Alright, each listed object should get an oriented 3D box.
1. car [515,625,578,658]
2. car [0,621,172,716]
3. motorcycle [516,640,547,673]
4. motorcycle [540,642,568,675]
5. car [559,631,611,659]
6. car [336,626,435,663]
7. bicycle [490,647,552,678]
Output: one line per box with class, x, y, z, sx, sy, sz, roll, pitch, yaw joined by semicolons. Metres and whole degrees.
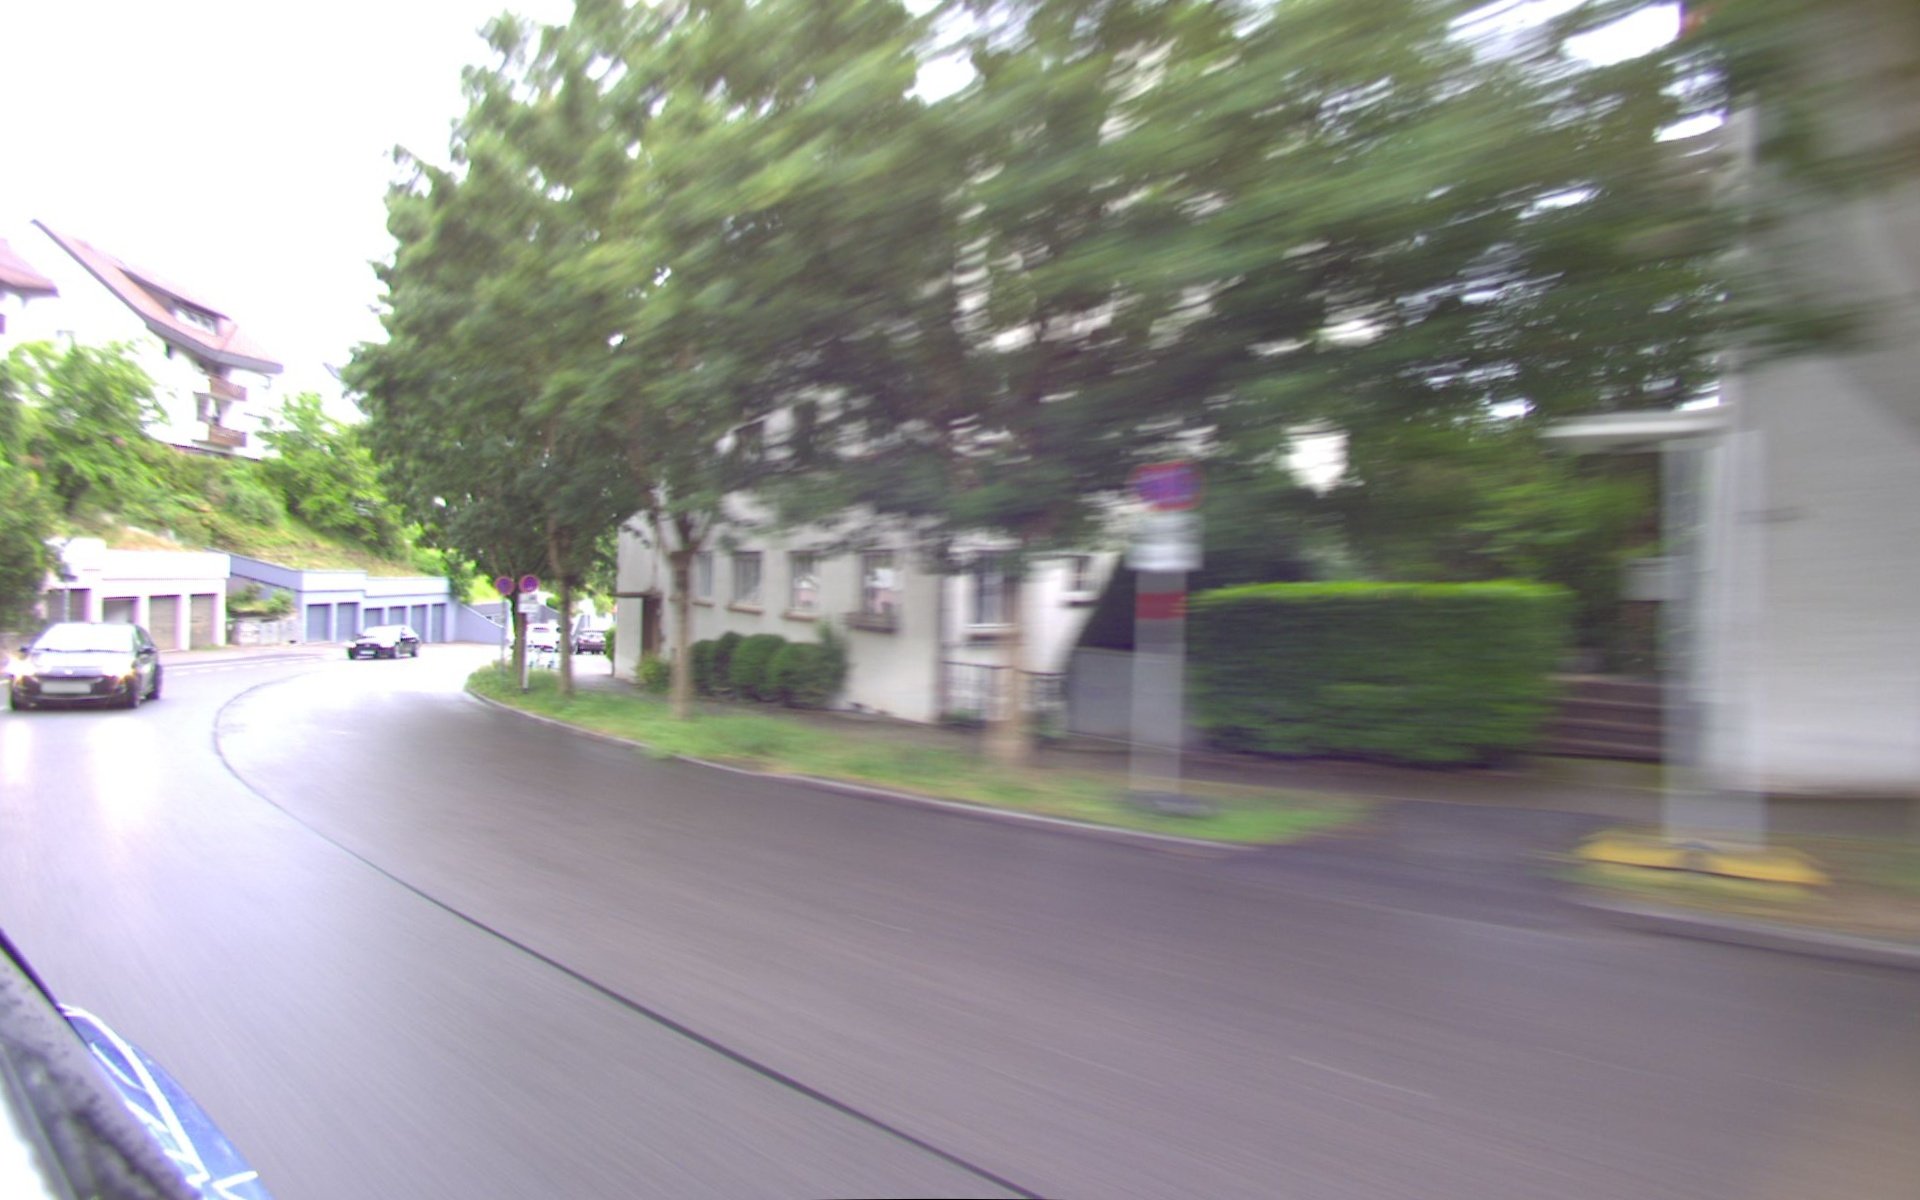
car;-24.460;2.496;60.044;1.961;1.802;4.698;3;-4;-3
car;-15.350;1.147;17.858;1.670;1.475;4.012;2;-3;-29
motorcycle;-16.305;2.145;38.500;0.551;1.213;1.398;1;-3;0
motorcycle;-15.636;2.230;39.011;0.546;1.237;1.305;1;-3;0
car;-20.976;2.497;56.554;1.966;1.401;4.210;2;-2;-31
car;-24.514;1.886;43.388;1.971;1.522;4.212;0;-2;-2
bicycle;-15.599;2.209;35.953;1.935;1.068;0.756;2;-3;-28
